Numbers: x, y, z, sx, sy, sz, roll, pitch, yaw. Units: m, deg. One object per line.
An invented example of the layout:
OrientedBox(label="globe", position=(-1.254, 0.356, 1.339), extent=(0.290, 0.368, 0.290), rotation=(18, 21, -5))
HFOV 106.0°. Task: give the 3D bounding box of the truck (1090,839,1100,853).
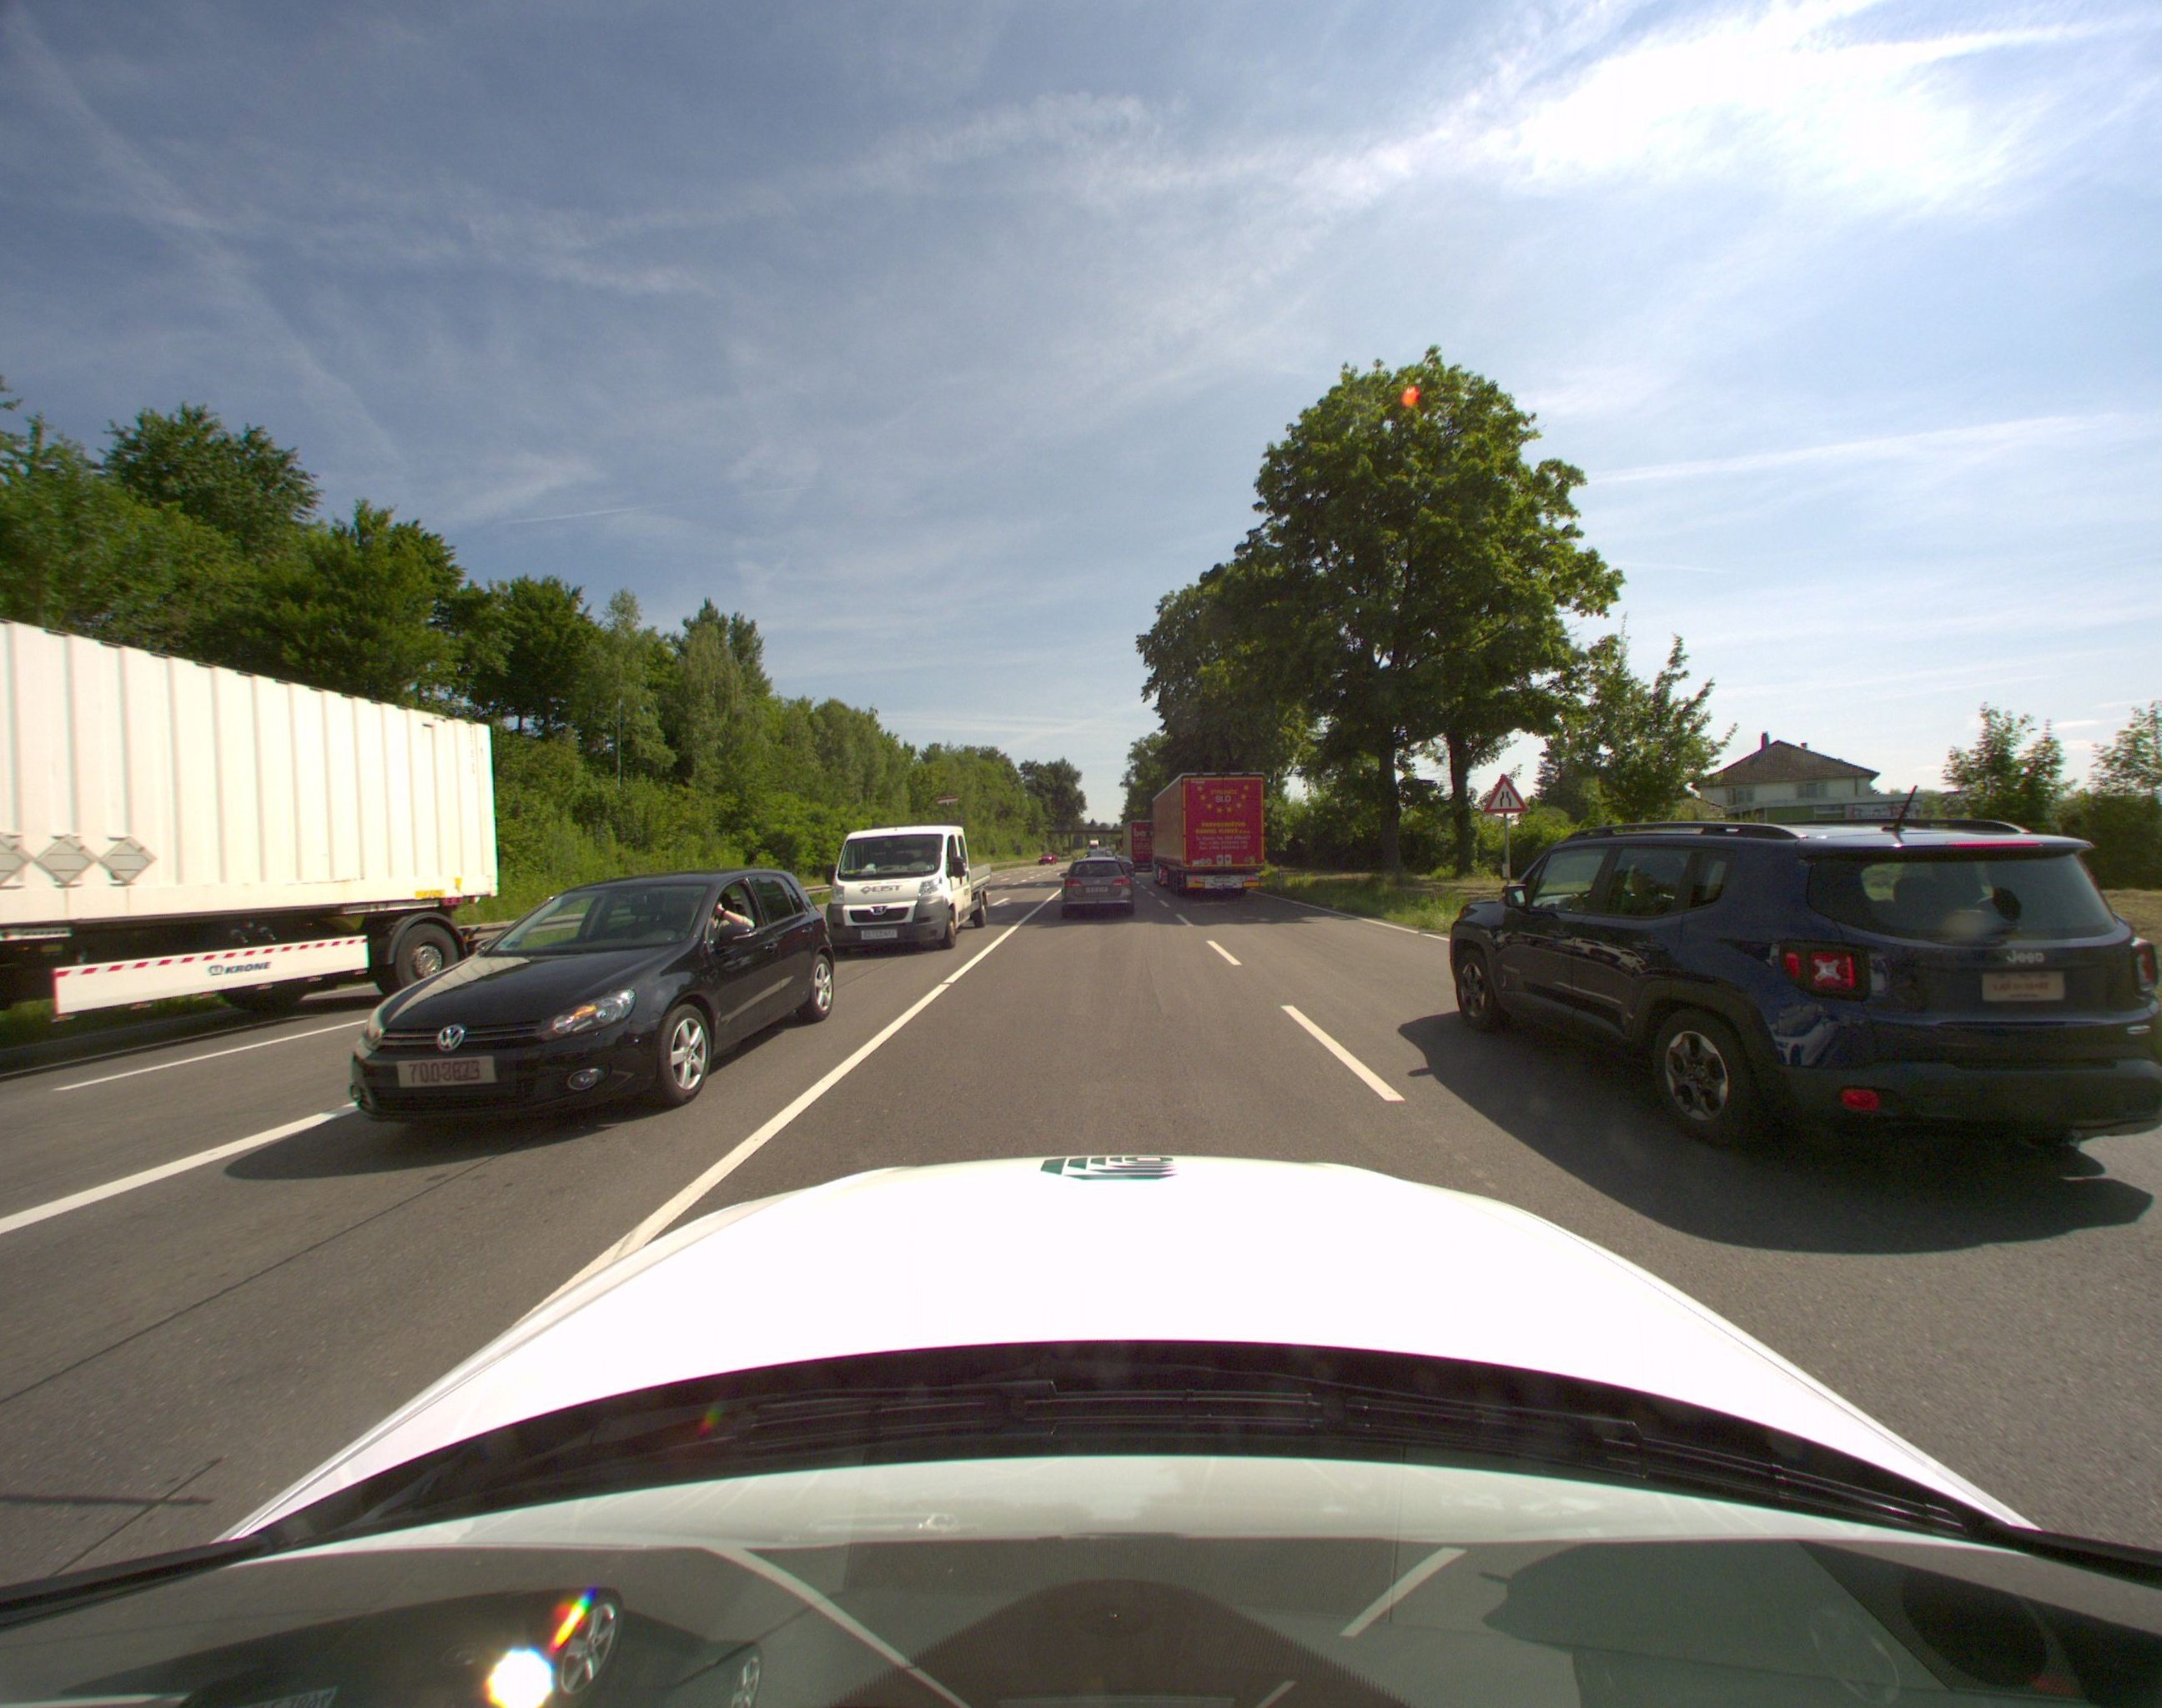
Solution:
OrientedBox(label="truck", position=(3.929, -2.248, 234.029), extent=(2.764, 3.931, 9.466), rotation=(-3, -1, 1))

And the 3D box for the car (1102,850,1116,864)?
OrientedBox(label="car", position=(4.332, 0.489, 126.190), extent=(1.986, 2.013, 4.001), rotation=(-3, -1, 1))

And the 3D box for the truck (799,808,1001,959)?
OrientedBox(label="truck", position=(-3.160, 0.487, 16.041), extent=(2.218, 2.267, 6.502), rotation=(-3, -1, 2))

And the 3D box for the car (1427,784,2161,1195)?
OrientedBox(label="car", position=(4.013, 0.579, 5.424), extent=(1.763, 1.654, 4.002), rotation=(-3, -1, 2))

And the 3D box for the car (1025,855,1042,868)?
OrientedBox(label="car", position=(-6.960, 1.057, 118.934), extent=(1.966, 1.796, 4.810), rotation=(-3, -1, 1))

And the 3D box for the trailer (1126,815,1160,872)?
OrientedBox(label="trailer", position=(5.123, -0.793, 68.960), extent=(2.385, 4.243, 13.088), rotation=(-3, -1, 3))

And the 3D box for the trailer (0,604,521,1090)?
OrientedBox(label="trailer", position=(-10.427, 0.007, 8.507), extent=(2.830, 4.069, 8.756), rotation=(-3, -1, 1))

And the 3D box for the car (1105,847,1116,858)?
OrientedBox(label="car", position=(5.928, -0.321, 164.991), extent=(1.986, 2.013, 4.001), rotation=(-3, -1, 1))

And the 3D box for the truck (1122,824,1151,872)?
OrientedBox(label="truck", position=(5.118, -0.532, 76.051), extent=(2.396, 4.127, 5.525), rotation=(-3, -1, 3))

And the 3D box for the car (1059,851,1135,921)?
OrientedBox(label="car", position=(0.399, 0.751, 20.807), extent=(1.685, 1.513, 4.000), rotation=(-3, -1, 1))

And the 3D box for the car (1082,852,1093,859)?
OrientedBox(label="car", position=(1.421, 0.366, 169.540), extent=(1.953, 1.415, 4.006), rotation=(-3, -1, 6))

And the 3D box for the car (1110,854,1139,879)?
OrientedBox(label="car", position=(2.889, 0.825, 54.969), extent=(1.764, 1.513, 4.000), rotation=(-3, -1, 1))

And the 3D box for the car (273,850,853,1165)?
OrientedBox(label="car", position=(-3.272, 0.811, 6.285), extent=(1.704, 1.551, 4.110), rotation=(-3, -1, 1))

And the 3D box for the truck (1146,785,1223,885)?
OrientedBox(label="truck", position=(4.697, -0.797, 37.990), extent=(2.860, 4.281, 5.840), rotation=(-1, 0, 1))

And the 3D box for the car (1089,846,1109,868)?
OrientedBox(label="car", position=(1.709, 0.304, 78.765), extent=(1.764, 1.936, 3.978), rotation=(-3, -1, 1))

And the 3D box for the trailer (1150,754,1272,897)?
OrientedBox(label="trailer", position=(4.580, -0.838, 31.777), extent=(2.829, 4.365, 13.169), rotation=(-1, 0, 1))
